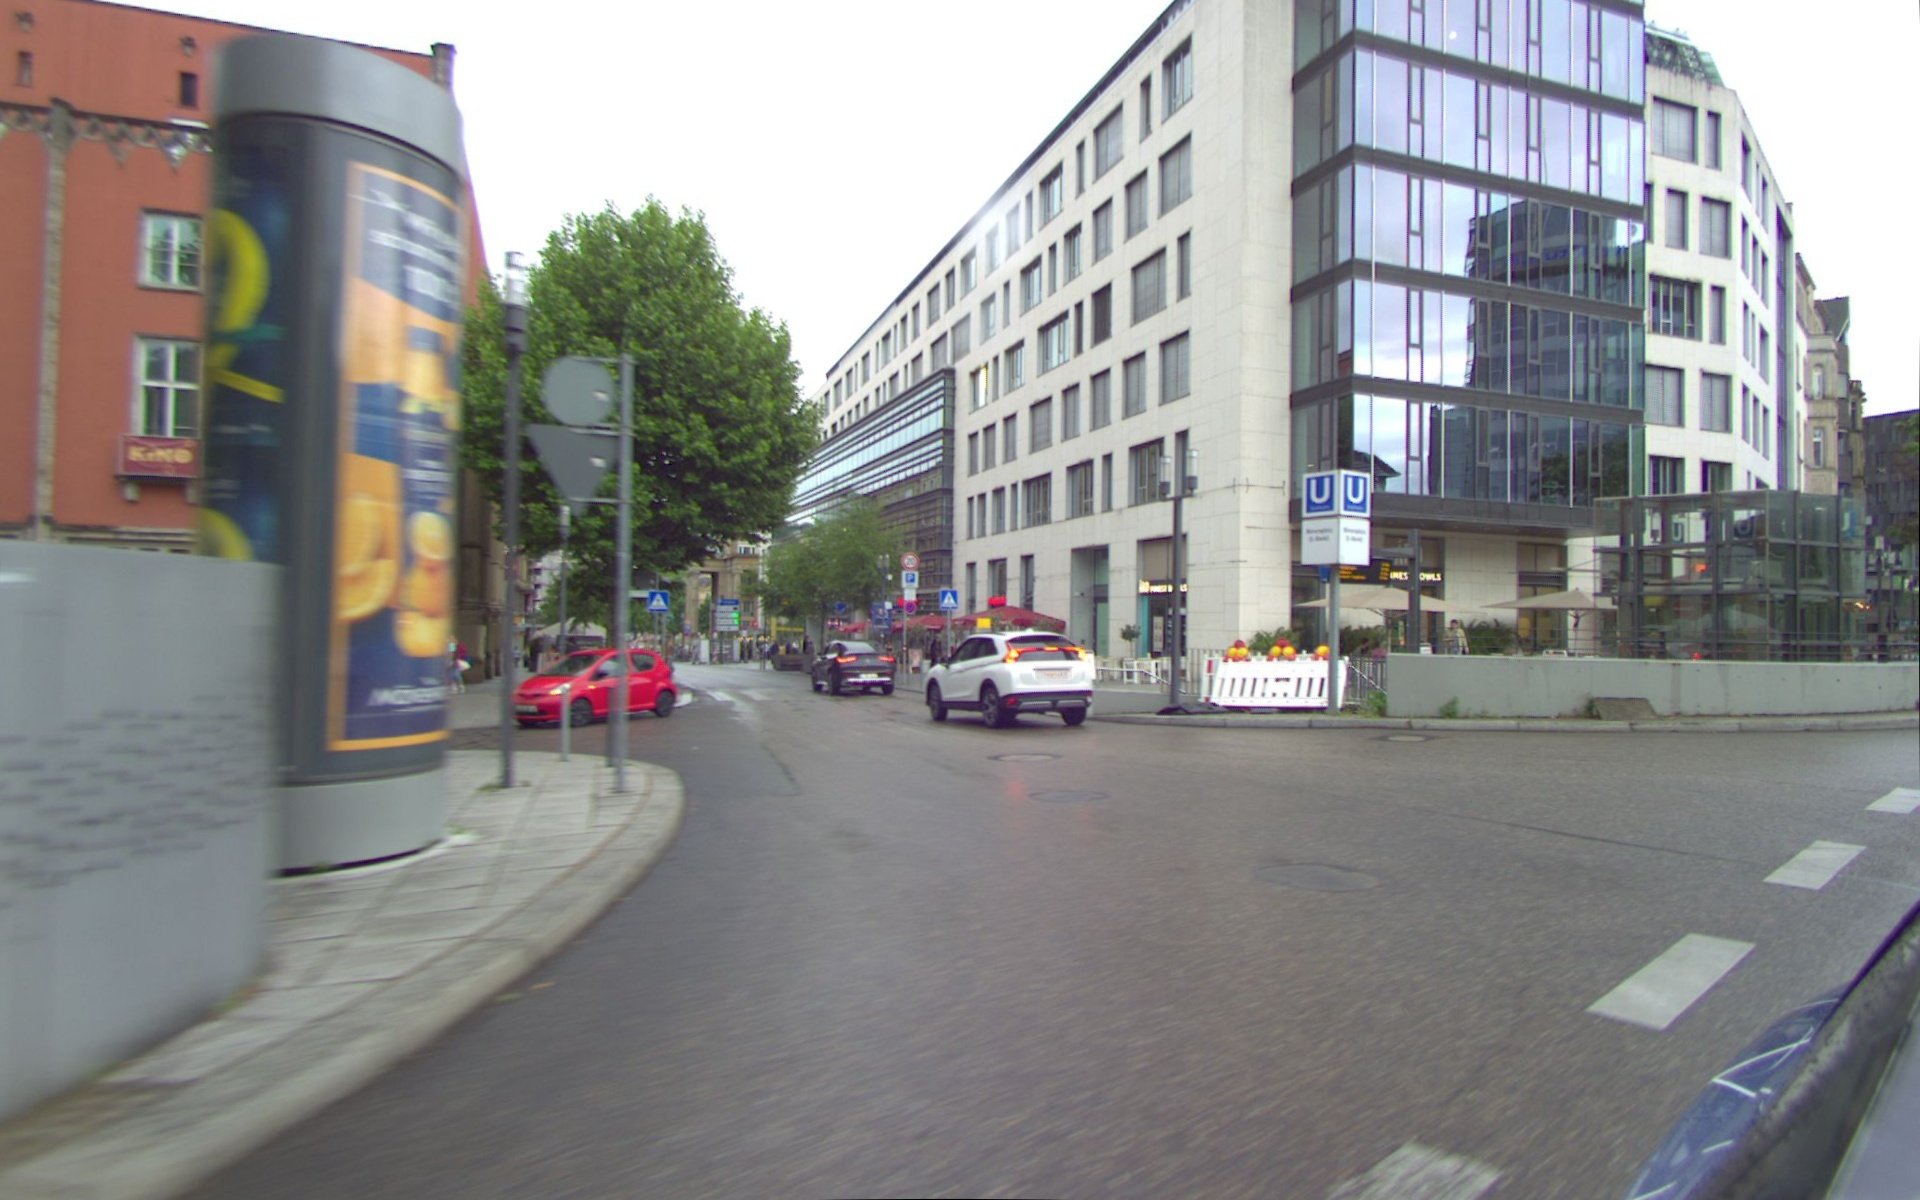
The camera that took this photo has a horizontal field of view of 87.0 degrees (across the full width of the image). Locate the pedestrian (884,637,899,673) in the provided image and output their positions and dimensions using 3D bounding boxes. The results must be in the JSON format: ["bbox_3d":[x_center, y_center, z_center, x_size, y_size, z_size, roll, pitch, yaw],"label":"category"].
[{"bbox_3d":[-3.411,2.737,50.184,0.560,1.723,0.560,0,0,-22],"label":"pedestrian"}]

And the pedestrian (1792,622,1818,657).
[{"bbox_3d":[32.829,1.541,39.314,0.625,1.344,0.627,1,-4,-43],"label":"pedestrian"}]

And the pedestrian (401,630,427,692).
[{"bbox_3d":[-14.593,1.626,27.058,0.597,1.618,0.755,0,-3,-27],"label":"pedestrian"}]

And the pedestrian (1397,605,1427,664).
[{"bbox_3d":[14.762,1.119,33.073,0.574,1.918,0.643,0,0,-18],"label":"pedestrian"}]

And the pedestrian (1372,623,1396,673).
[{"bbox_3d":[12.416,1.391,29.648,0.468,1.421,0.437,0,0,-20],"label":"pedestrian"}]

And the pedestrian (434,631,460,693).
[{"bbox_3d":[-13.447,1.611,26.553,0.597,1.580,0.755,0,-3,-27],"label":"pedestrian"}]

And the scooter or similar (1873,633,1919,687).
[{"bbox_3d":[23.019,1.458,24.682,1.090,1.288,0.473,-2,-3,43],"label":"scooter or similar"}]

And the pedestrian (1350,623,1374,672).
[{"bbox_3d":[11.937,1.395,30.034,0.468,1.421,0.437,0,0,-20],"label":"pedestrian"}]

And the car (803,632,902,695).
[{"bbox_3d":[-3.318,1.820,30.398,1.962,1.713,4.758,0,-2,-19],"label":"car"}]

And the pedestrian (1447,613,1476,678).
[{"bbox_3d":[15.088,1.354,30.444,0.584,1.918,0.632,-1,-1,43],"label":"pedestrian"}]

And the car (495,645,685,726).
[{"bbox_3d":[-7.387,1.667,20.520,1.598,1.434,3.494,-3,-3,27],"label":"car"}]

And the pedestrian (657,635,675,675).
[{"bbox_3d":[-15.160,2.838,52.170,0.761,2.040,0.782,0,-3,-24],"label":"pedestrian"}]

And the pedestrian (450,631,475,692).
[{"bbox_3d":[-13.672,1.680,27.806,0.597,1.618,0.755,0,-3,-27],"label":"pedestrian"}]

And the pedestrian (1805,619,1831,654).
[{"bbox_3d":[33.920,1.433,40.014,0.625,1.344,0.627,1,-4,-43],"label":"pedestrian"}]

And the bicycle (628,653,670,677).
[{"bbox_3d":[-13.764,2.875,44.782,1.719,0.997,0.523,0,-2,-23],"label":"bicycle"}]

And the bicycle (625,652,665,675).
[{"bbox_3d":[-14.404,2.889,46.325,1.719,0.997,0.523,0,-2,-23],"label":"bicycle"}]

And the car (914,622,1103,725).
[{"bbox_3d":[0.738,1.331,18.549,1.824,1.643,4.115,1,-4,-23],"label":"car"}]

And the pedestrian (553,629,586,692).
[{"bbox_3d":[-11.605,1.778,30.061,0.793,1.832,0.610,0,-3,-35],"label":"pedestrian"}]
